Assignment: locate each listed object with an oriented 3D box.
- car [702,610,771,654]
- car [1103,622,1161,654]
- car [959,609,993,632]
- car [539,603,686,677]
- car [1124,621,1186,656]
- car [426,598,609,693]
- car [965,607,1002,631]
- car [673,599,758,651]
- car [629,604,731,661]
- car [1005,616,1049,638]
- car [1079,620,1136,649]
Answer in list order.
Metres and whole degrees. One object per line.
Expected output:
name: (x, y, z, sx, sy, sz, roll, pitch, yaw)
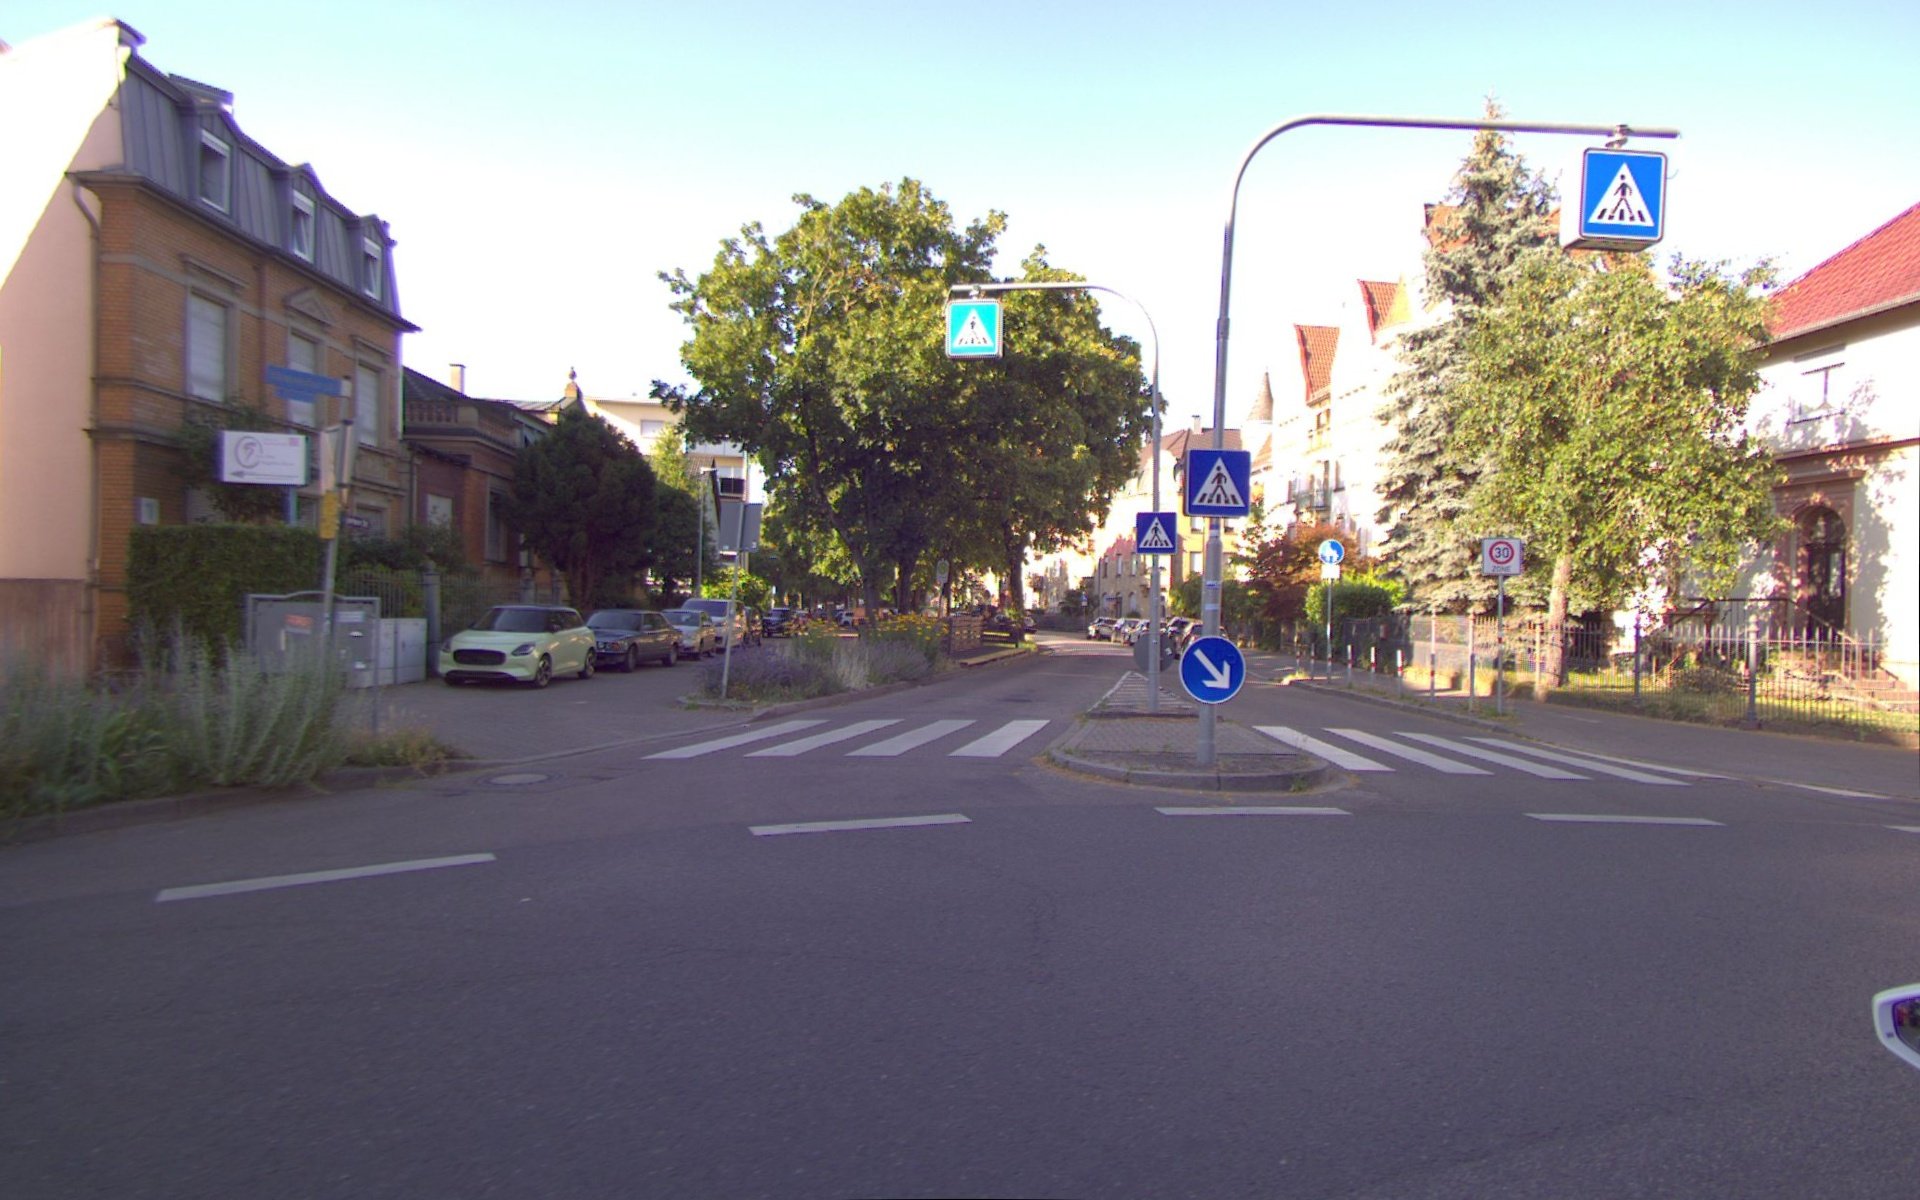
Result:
car: (-9.258, 1.291, 41.951, 1.903, 1.685, 4.300, 2, 0, 0)
car: (9.852, 2.152, 57.973, 2.302, 1.617, 4.928, 2, 0, -2)
car: (1.211, 1.540, 77.496, 1.819, 1.707, 3.992, 1, 0, -11)
car: (-8.178, 0.889, 24.072, 1.903, 1.557, 4.139, 2, 0, 2)
car: (10.096, 1.950, 52.515, 2.301, 1.617, 4.930, 2, 0, 1)
car: (-8.224, 0.793, 19.066, 1.778, 1.557, 3.909, 2, 0, -2)
car: (2.168, 1.790, 95.770, 2.308, 2.068, 4.916, 2, 0, -13)
car: (-8.647, 0.851, 35.849, 1.903, 1.685, 4.509, 2, 0, 0)
car: (-8.343, 0.935, 30.299, 1.903, 1.557, 4.138, 2, 0, 0)
car: (5.530, 2.219, 83.992, 2.308, 1.617, 4.916, 2, 0, -13)
car: (9.298, 2.182, 63.813, 2.304, 1.617, 4.924, 2, 0, -7)
